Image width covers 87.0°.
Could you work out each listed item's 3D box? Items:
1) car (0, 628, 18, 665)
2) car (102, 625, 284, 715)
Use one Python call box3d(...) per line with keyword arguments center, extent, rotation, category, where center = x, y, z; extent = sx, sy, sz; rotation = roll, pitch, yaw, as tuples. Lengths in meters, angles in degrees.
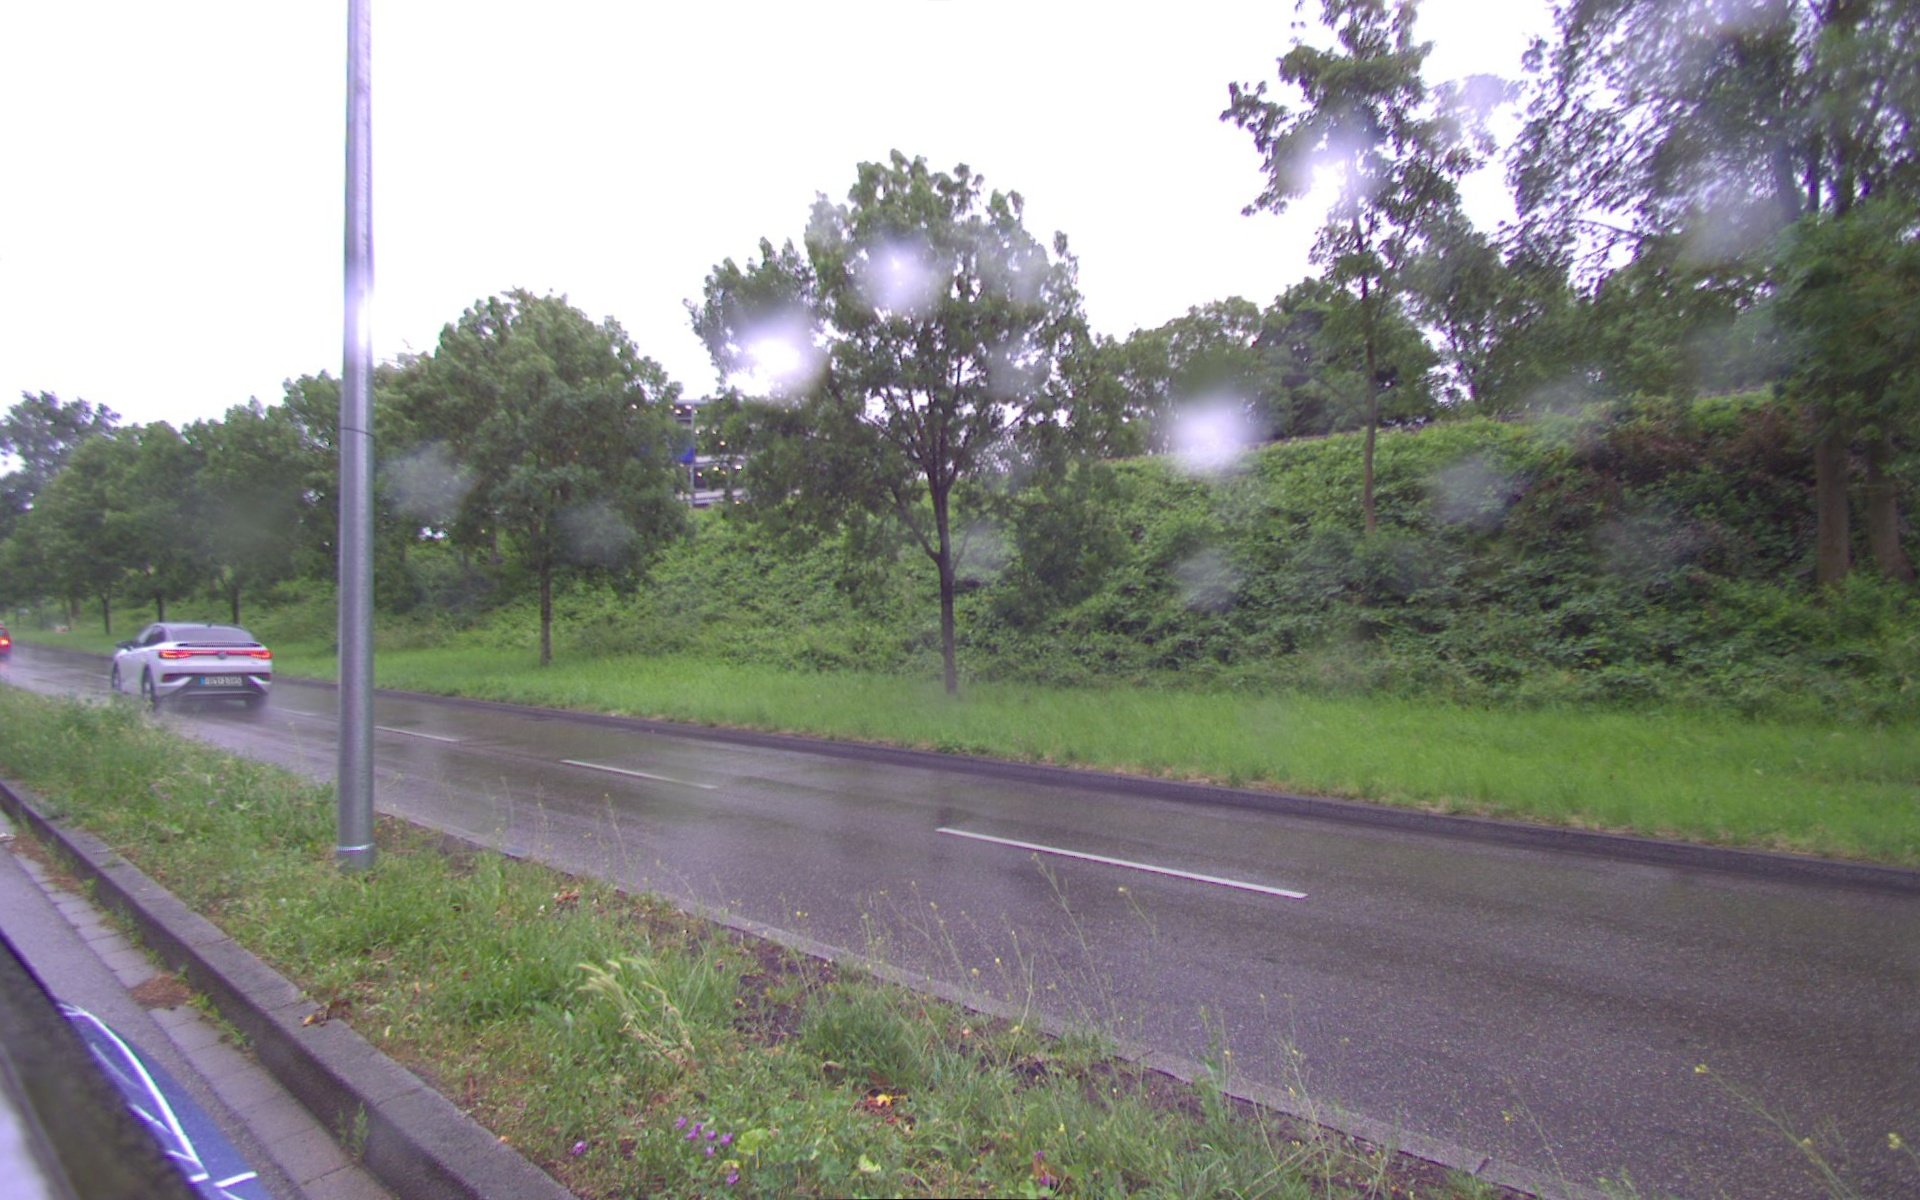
box3d(center=(-41.319, 1.930, 42.576), extent=(4.251, 1.531, 1.934), rotation=(-2, -4, 40), category="car")
box3d(center=(-14.628, 1.270, 19.223), extent=(4.299, 1.531, 1.867), rotation=(-2, -4, 41), category="car")
